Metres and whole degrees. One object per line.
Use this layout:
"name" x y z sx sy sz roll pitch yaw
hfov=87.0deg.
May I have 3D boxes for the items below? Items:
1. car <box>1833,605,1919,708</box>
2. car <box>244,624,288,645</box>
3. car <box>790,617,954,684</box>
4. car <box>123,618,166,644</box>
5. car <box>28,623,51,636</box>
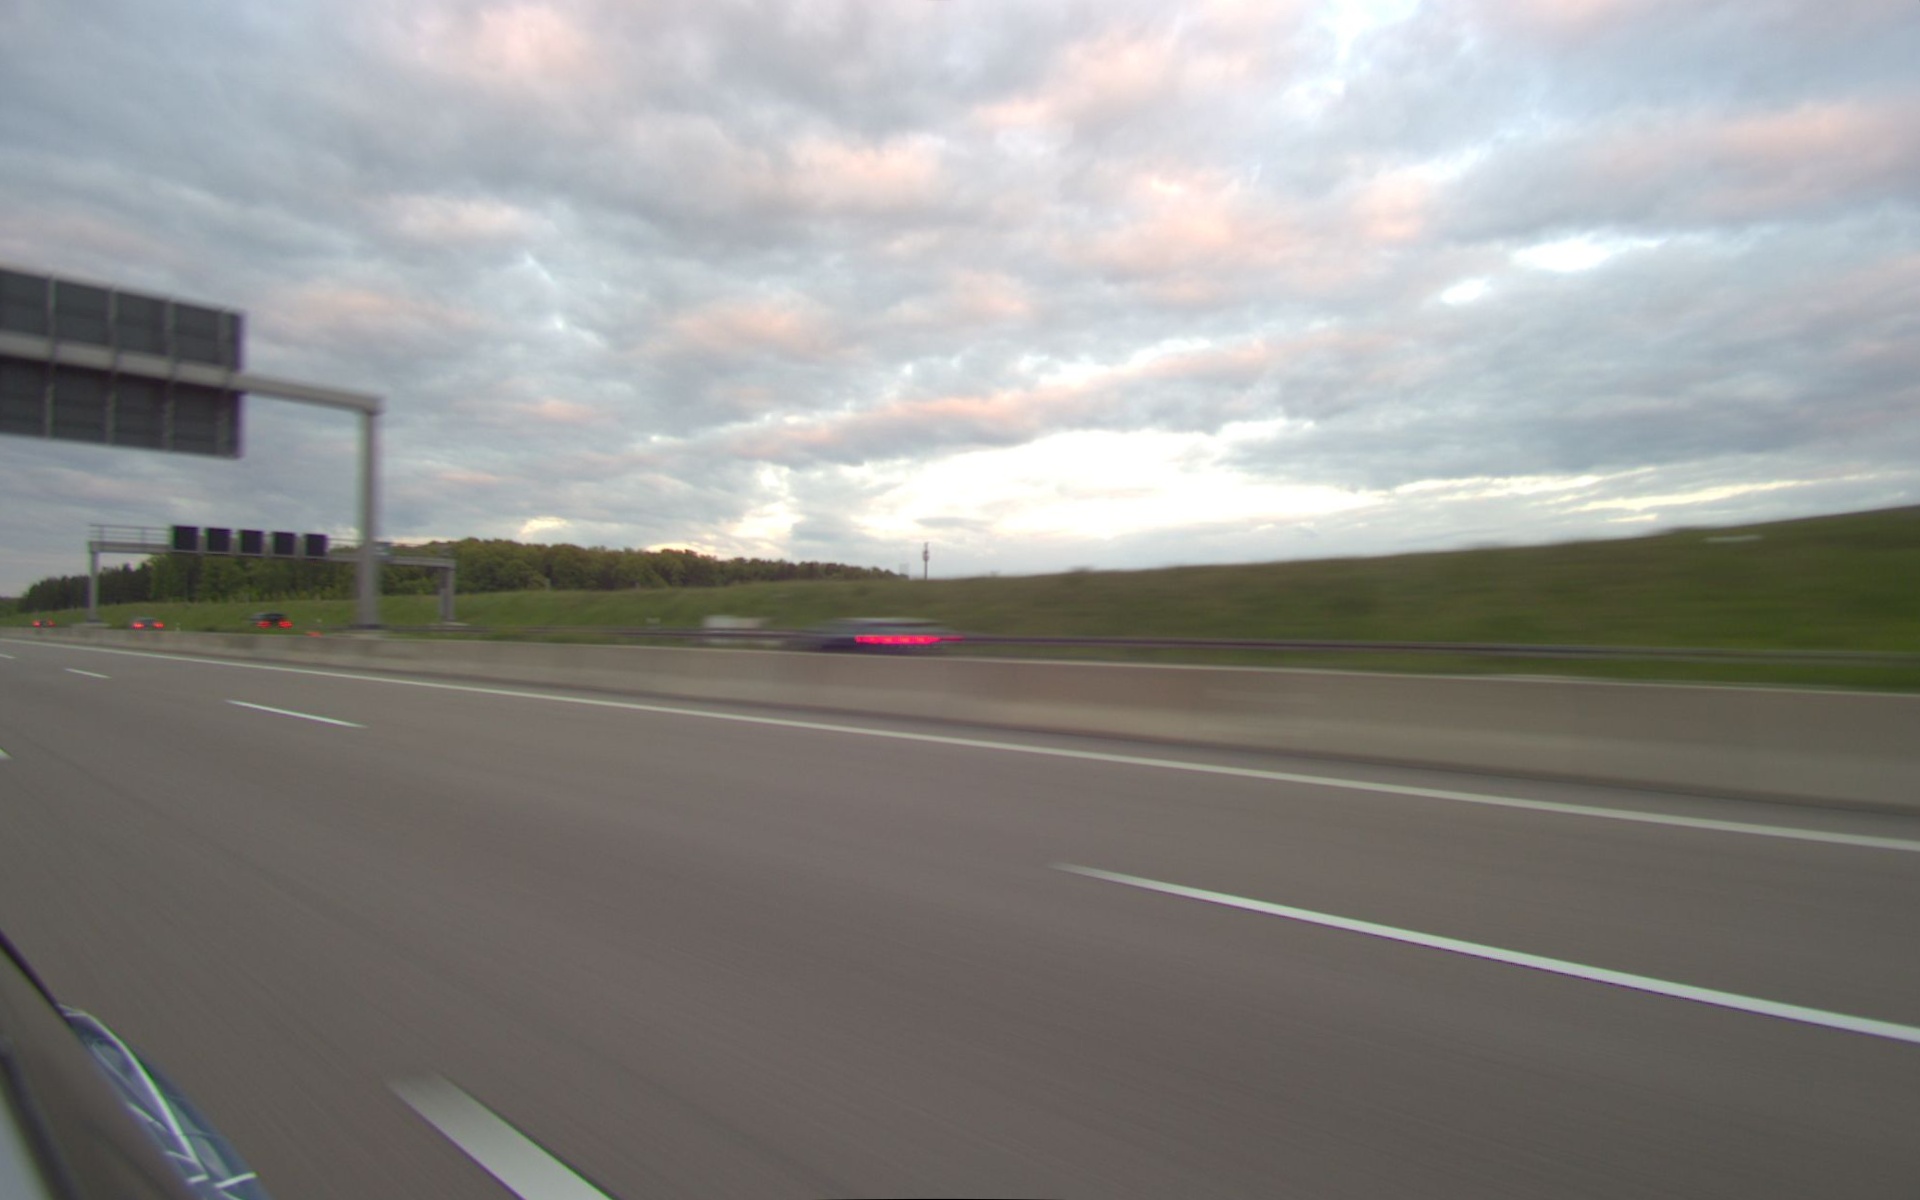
"car" 16.038 0.855 15.512 3.998 1.569 1.585 -1 0 41
"car" -51.960 2.576 75.704 3.998 1.470 1.795 -1 0 41
"car" -2.364 1.248 26.337 4.359 1.564 1.736 -1 0 42
"car" -67.997 2.565 84.394 4.901 2.029 1.973 -1 0 41
"car" -137.571 4.423 151.244 5.085 1.841 1.973 -1 -1 41
